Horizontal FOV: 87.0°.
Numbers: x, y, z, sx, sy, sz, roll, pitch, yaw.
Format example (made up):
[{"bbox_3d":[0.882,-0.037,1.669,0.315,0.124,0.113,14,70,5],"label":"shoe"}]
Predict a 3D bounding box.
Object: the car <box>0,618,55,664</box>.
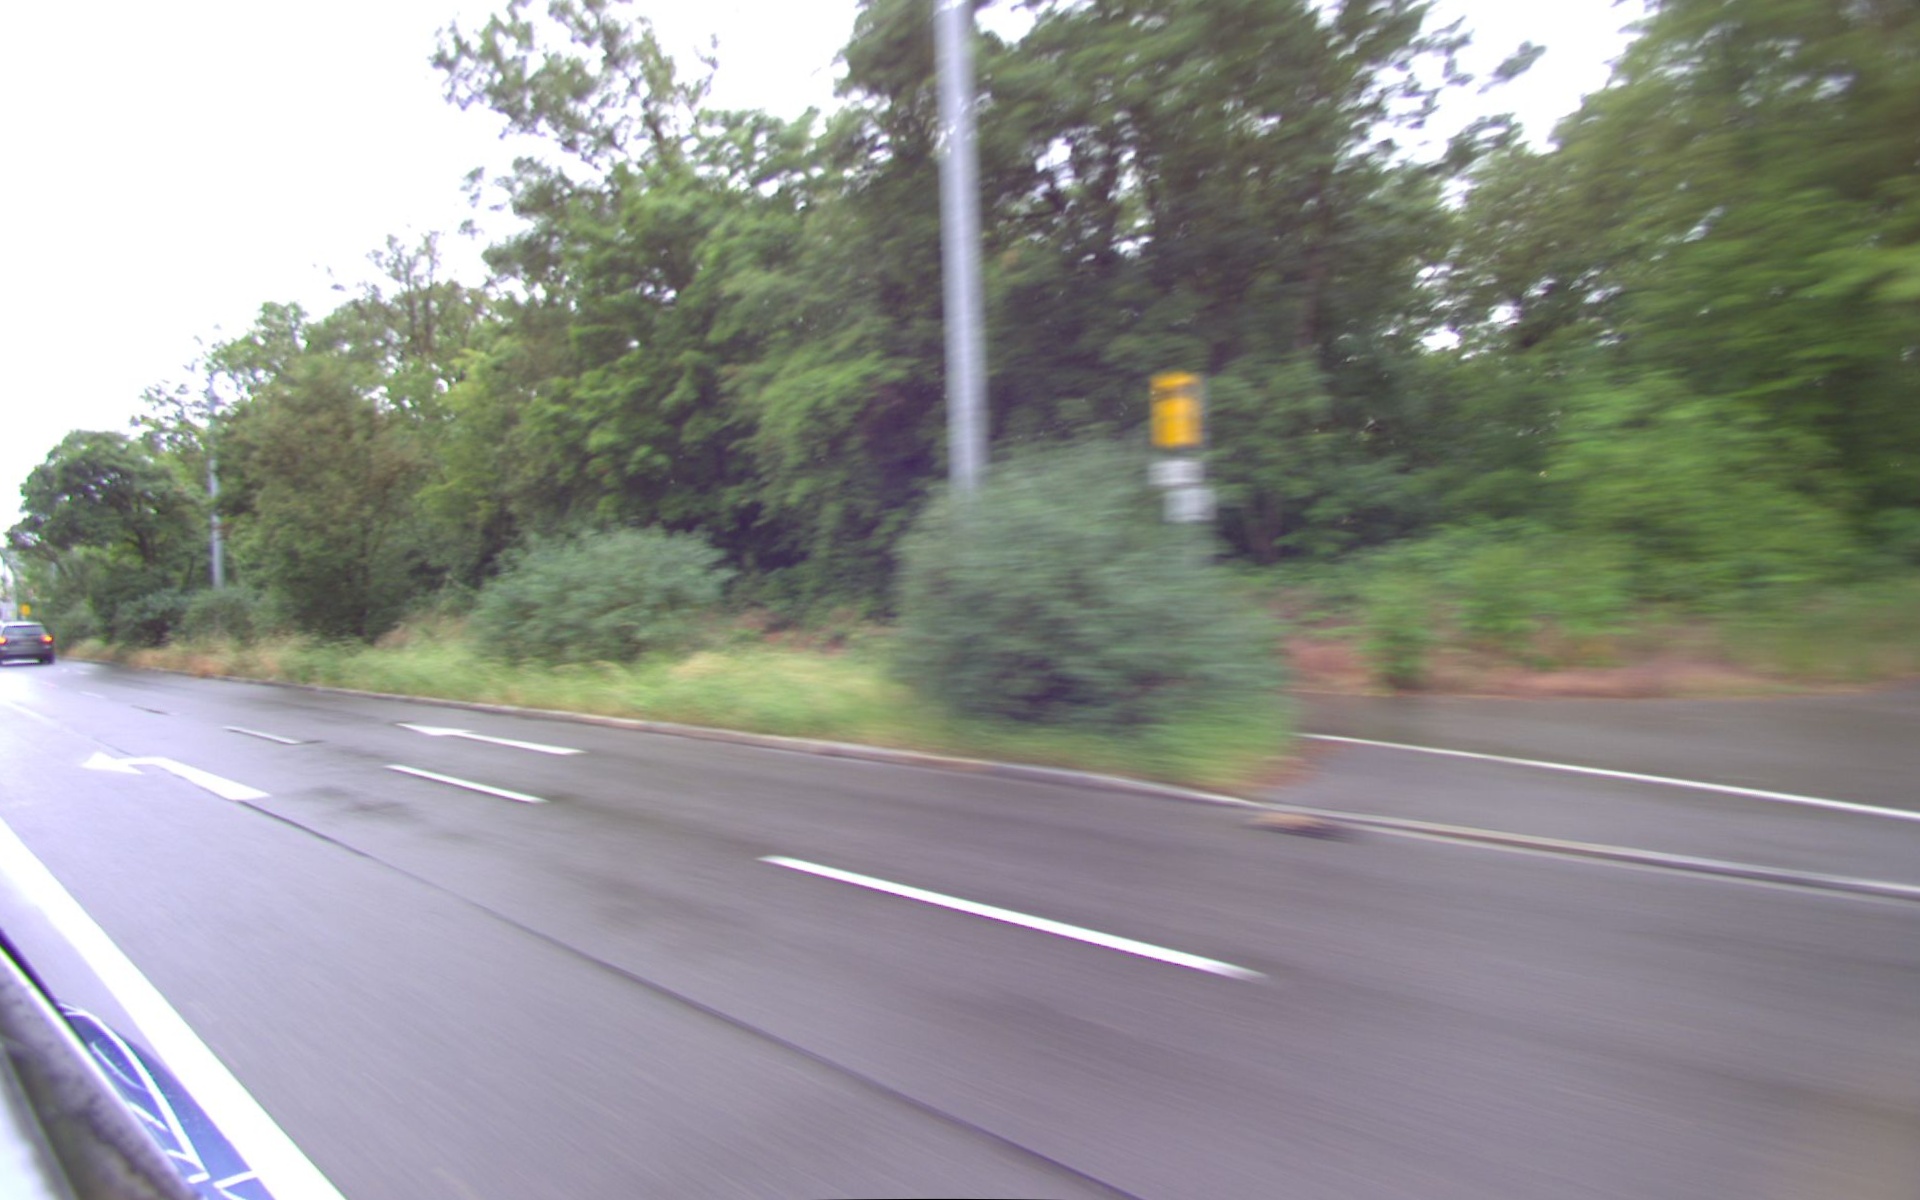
[{"bbox_3d":[-36.040,1.542,38.623,4.082,1.622,1.753,-1,0,42],"label":"car"}]
